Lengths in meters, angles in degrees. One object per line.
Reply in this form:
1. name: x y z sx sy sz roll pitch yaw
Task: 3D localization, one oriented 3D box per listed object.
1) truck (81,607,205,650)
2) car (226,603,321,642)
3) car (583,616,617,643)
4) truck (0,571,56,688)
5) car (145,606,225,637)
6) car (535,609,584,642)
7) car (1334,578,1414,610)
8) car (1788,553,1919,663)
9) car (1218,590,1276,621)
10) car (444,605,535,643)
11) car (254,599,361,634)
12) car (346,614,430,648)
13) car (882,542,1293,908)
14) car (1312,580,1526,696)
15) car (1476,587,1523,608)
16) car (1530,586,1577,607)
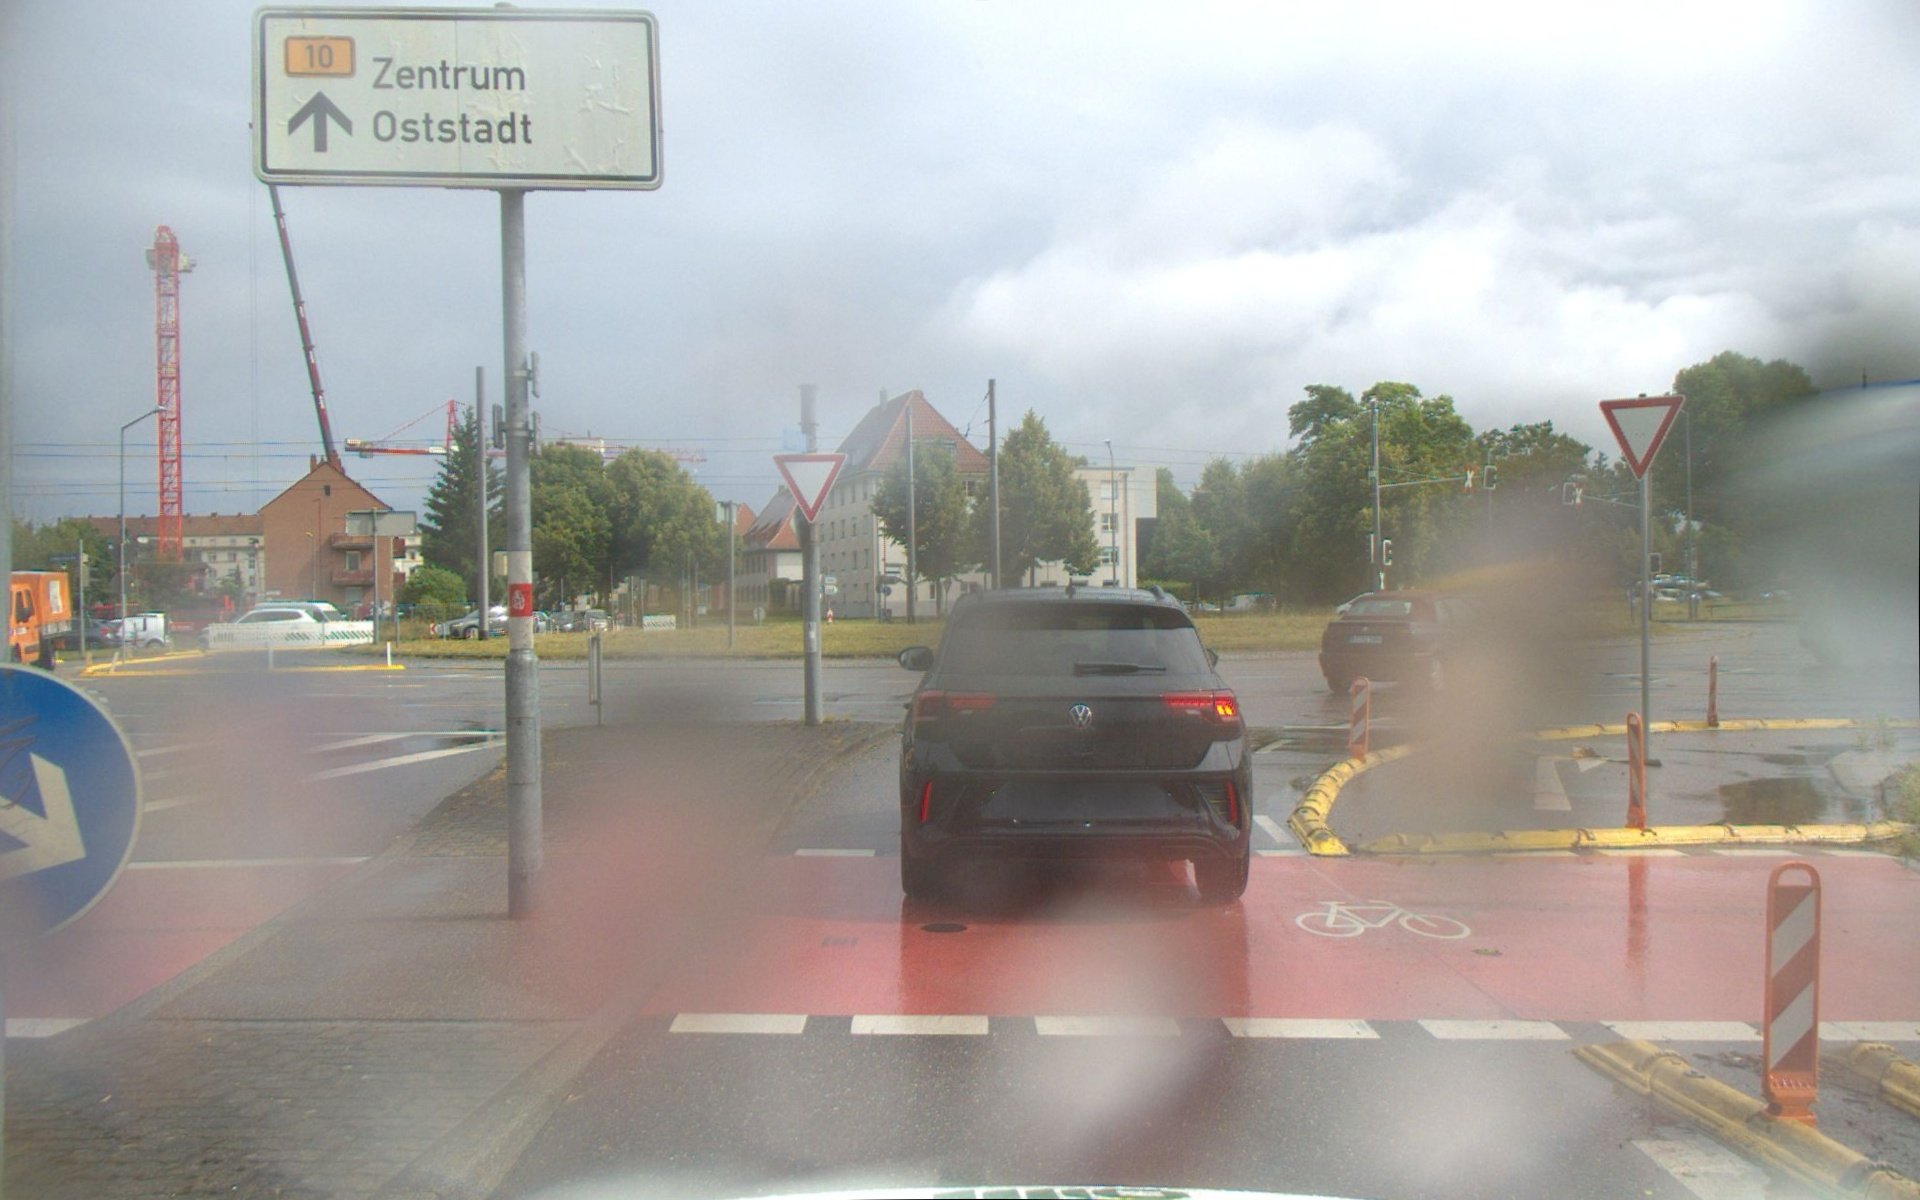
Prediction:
1. truck: -46.009 1.586 93.214 5.951 2.250 2.399 1 0 9
2. car: -28.120 0.903 67.790 3.452 1.536 1.485 -1 0 -30
3. car: -22.071 1.806 101.454 1.514 1.588 3.497 -1 0 -4
4. truck: -24.598 0.732 42.210 2.425 2.774 6.884 -1 0 -27
5. car: -46.549 1.286 99.401 3.903 1.730 1.931 1 0 5
6. car: -20.918 1.298 86.514 1.756 1.612 3.998 -1 0 -3
7. car: 19.804 -0.273 79.175 1.538 1.479 3.443 -2 0 -44
8. car: 16.913 0.089 28.446 4.446 1.793 1.866 -1 1 -3
9. car: 20.193 0.380 116.496 2.072 2.093 5.141 -2 1 -15
10. car: -20.969 1.039 73.780 1.547 1.588 3.653 0 1 44
11. car: -41.926 1.025 106.286 6.112 2.121 2.044 1 0 6
12. car: -31.248 1.687 90.378 1.958 1.713 3.988 -1 0 33
13. car: 0.599 0.574 9.541 1.858 1.646 4.000 1 0 0
14. car: 6.864 0.511 24.484 1.687 1.488 3.983 -1 1 37
15. car: 39.956 -0.187 122.563 1.613 1.487 3.594 -1 0 -16
16. car: 44.596 -0.247 124.355 1.617 1.537 3.637 -1 0 -13
